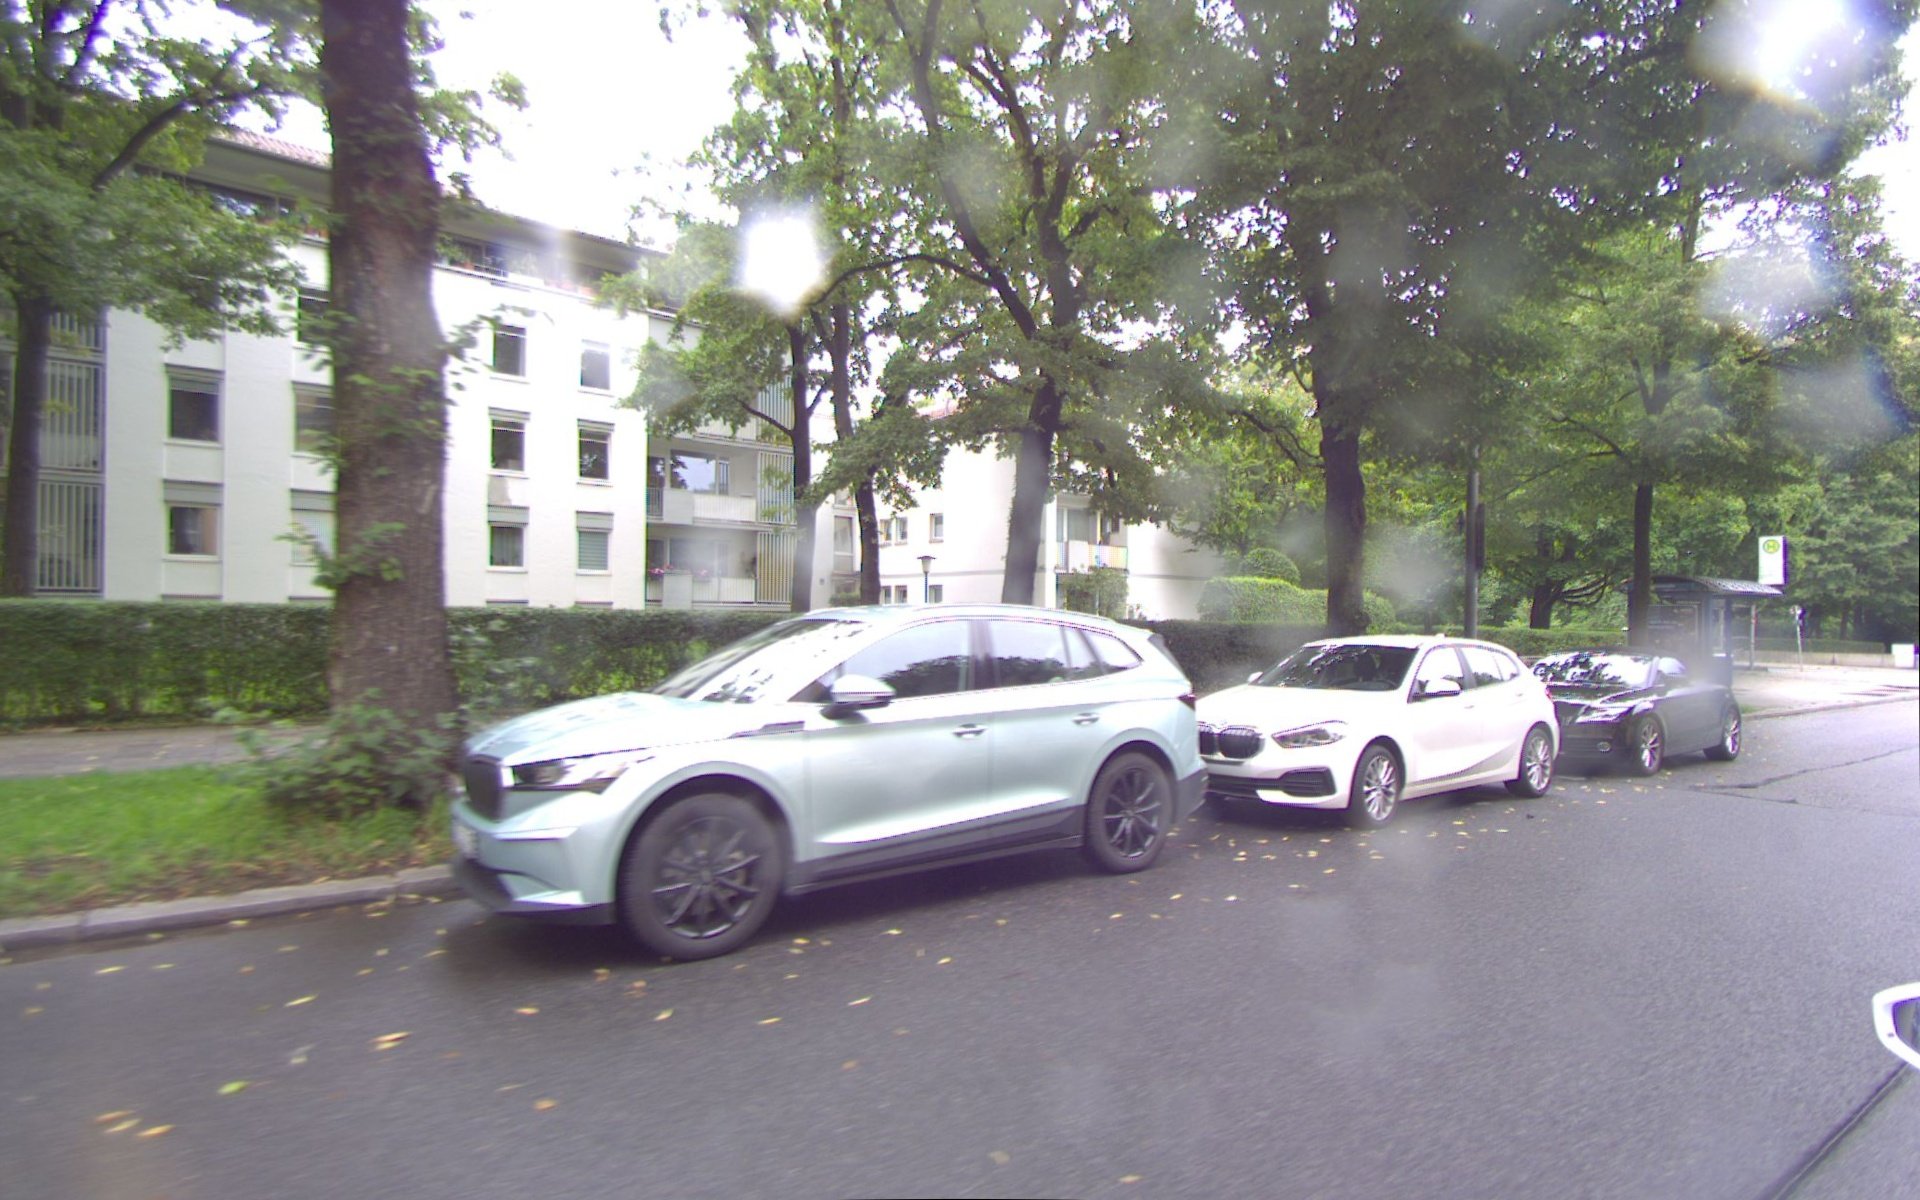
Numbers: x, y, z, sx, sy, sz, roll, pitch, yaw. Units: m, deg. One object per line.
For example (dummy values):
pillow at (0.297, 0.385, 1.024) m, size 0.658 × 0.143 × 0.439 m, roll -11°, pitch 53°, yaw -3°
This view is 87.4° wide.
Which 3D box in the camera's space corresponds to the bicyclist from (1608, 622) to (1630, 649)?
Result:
bicyclist at (31.619, 1.700, 48.187) m, size 0.838 × 1.274 × 0.524 m, roll 1°, pitch -2°, yaw 28°

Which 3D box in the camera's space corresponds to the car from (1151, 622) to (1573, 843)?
car at (3.685, 0.997, 8.869) m, size 4.161 × 1.517 × 1.566 m, roll 2°, pitch -2°, yaw -37°

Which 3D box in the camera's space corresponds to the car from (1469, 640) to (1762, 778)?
car at (7.877, 1.185, 11.958) m, size 4.004 × 1.360 × 1.567 m, roll 2°, pitch -2°, yaw -35°

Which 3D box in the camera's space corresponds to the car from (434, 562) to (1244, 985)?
car at (-0.455, 0.741, 5.953) m, size 4.472 × 1.622 × 1.802 m, roll 2°, pitch -2°, yaw -37°
